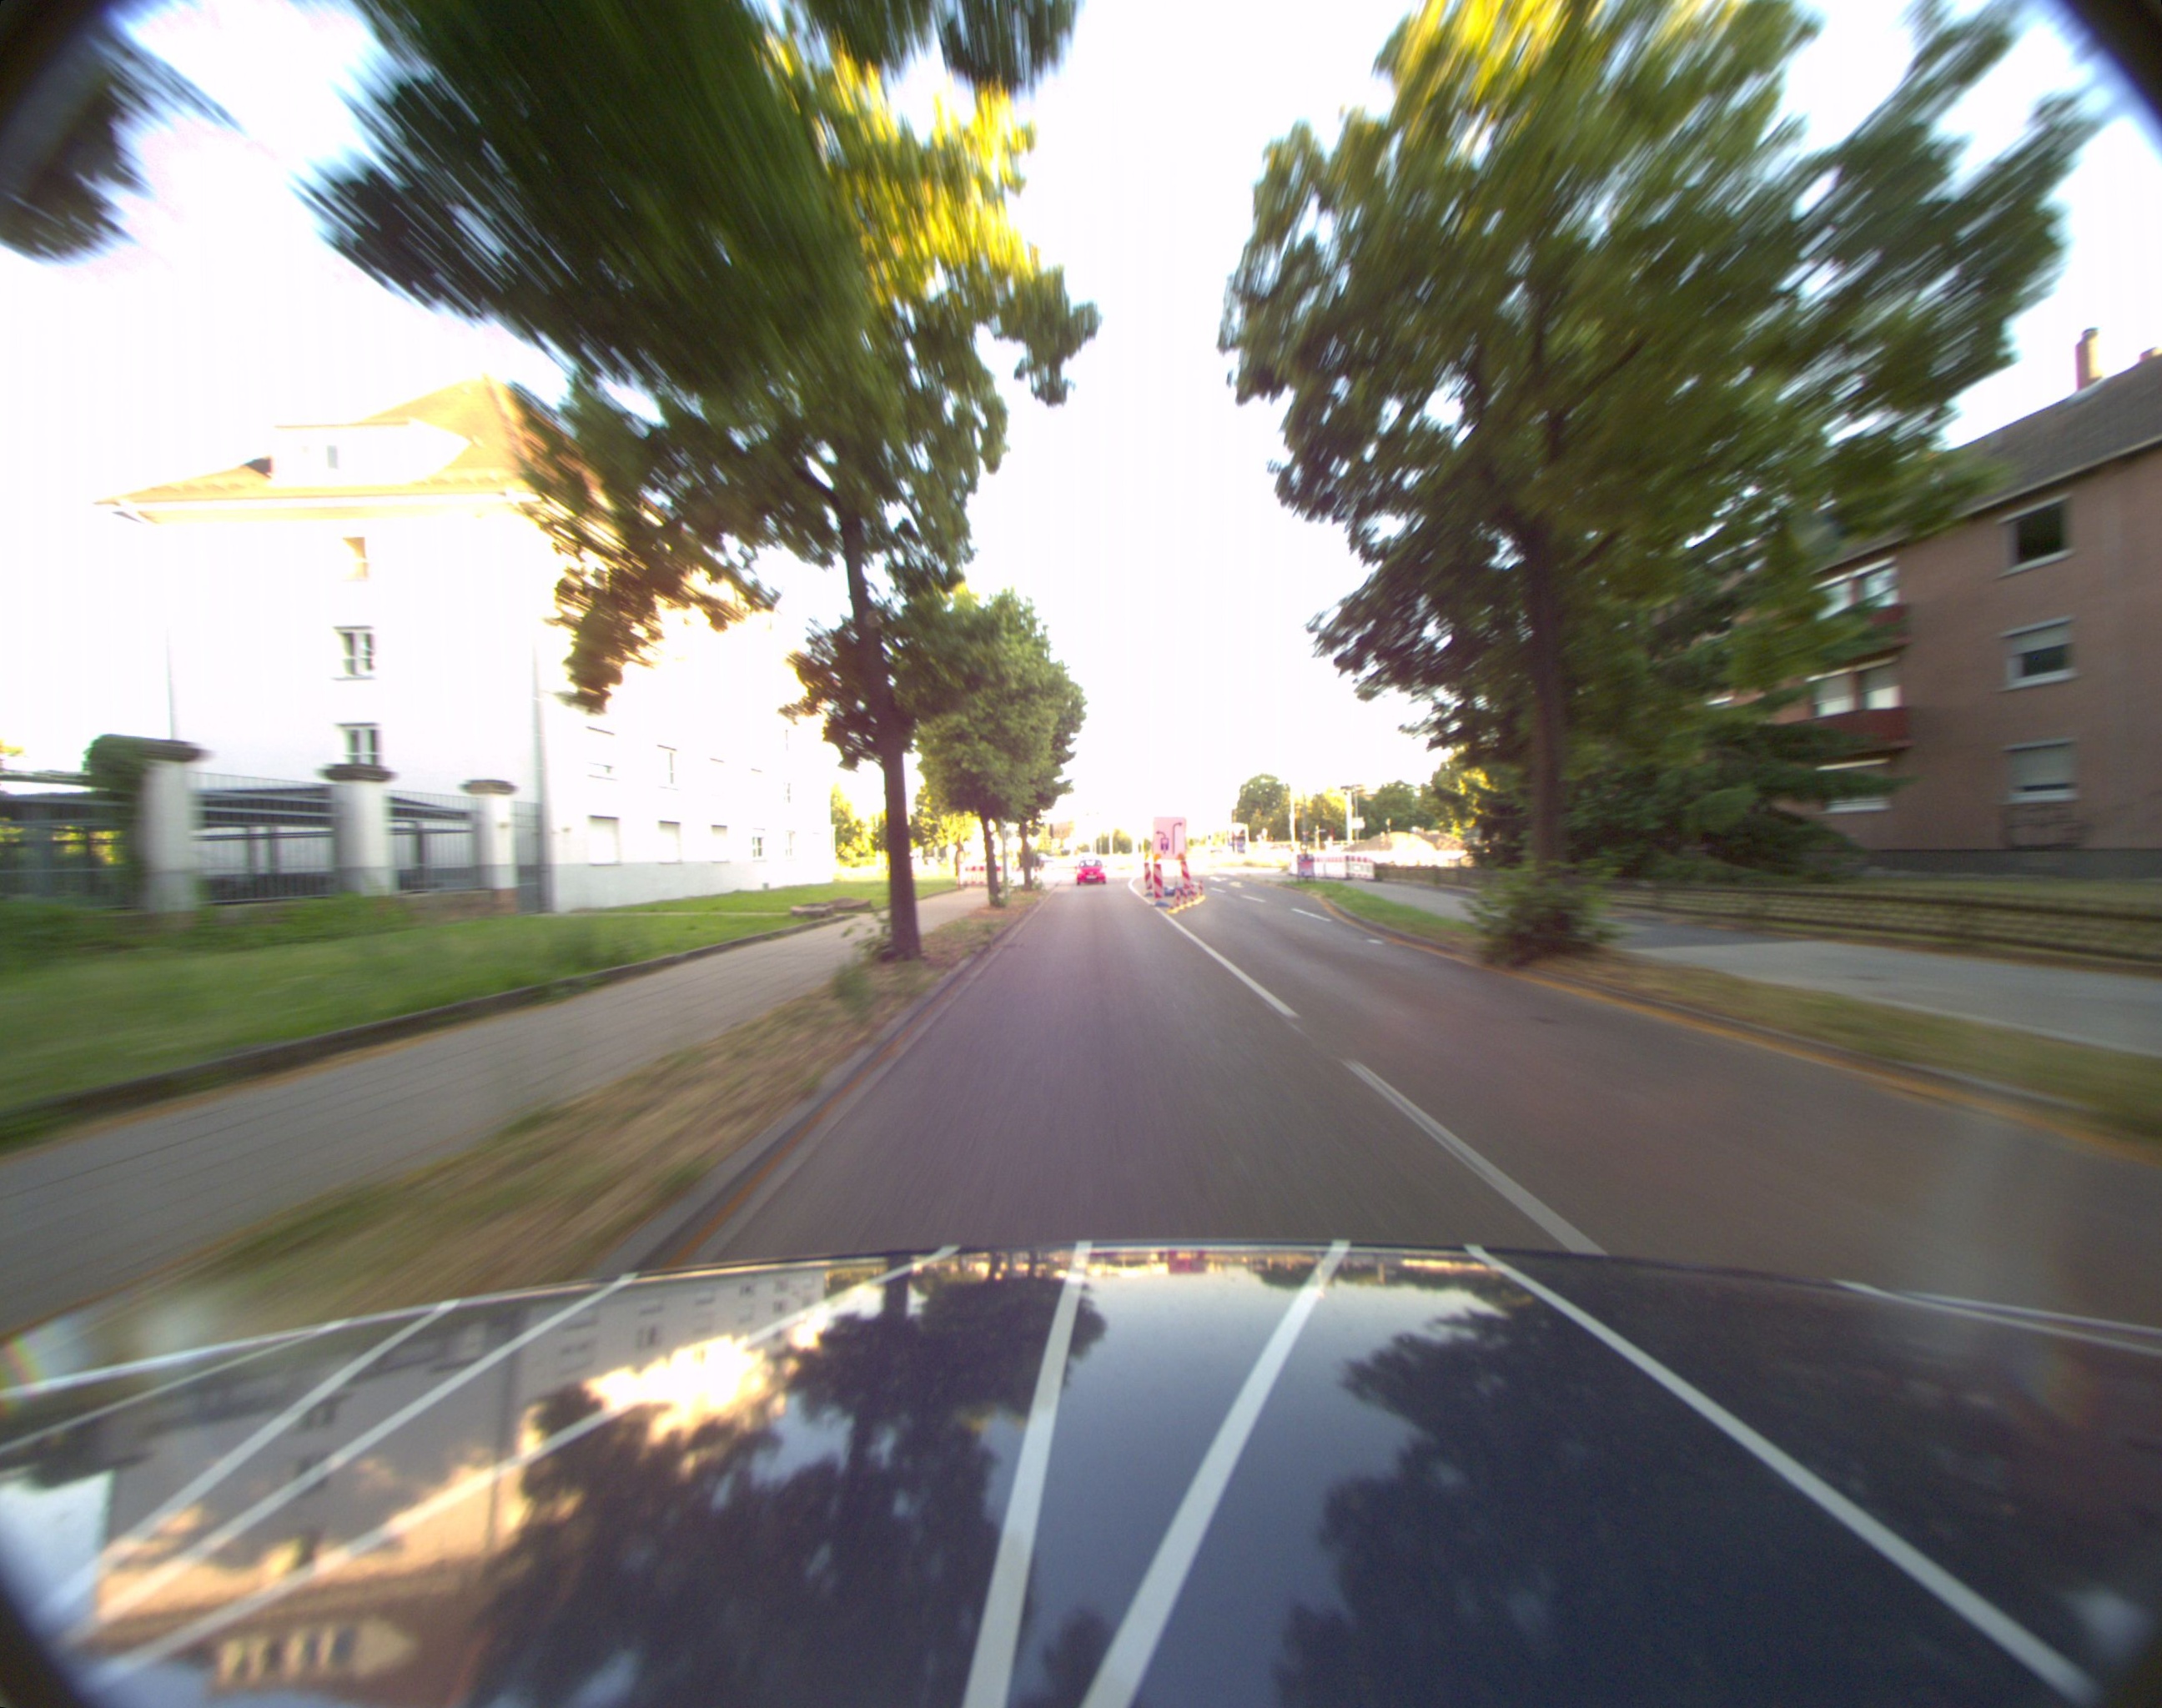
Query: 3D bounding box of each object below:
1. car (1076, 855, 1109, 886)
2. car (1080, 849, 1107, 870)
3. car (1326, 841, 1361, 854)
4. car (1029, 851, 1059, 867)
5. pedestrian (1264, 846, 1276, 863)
[{"bbox_3d":[0.595,0.839,41.437,1.619,1.405,4.409,-2,2,-1],"label":"car"},{"bbox_3d":[1.011,0.414,61.939,1.790,1.548,4.407,-3,2,-4],"label":"car"},{"bbox_3d":[34.054,-0.856,98.727,4.001,1.456,1.629,-2,1,-13],"label":"car"},{"bbox_3d":[-3.810,0.486,77.563,1.792,1.548,4.402,-3,2,-18],"label":"car"},{"bbox_3d":[19.475,0.046,78.334,0.927,1.685,0.786,-1,1,-11],"label":"pedestrian"}]
